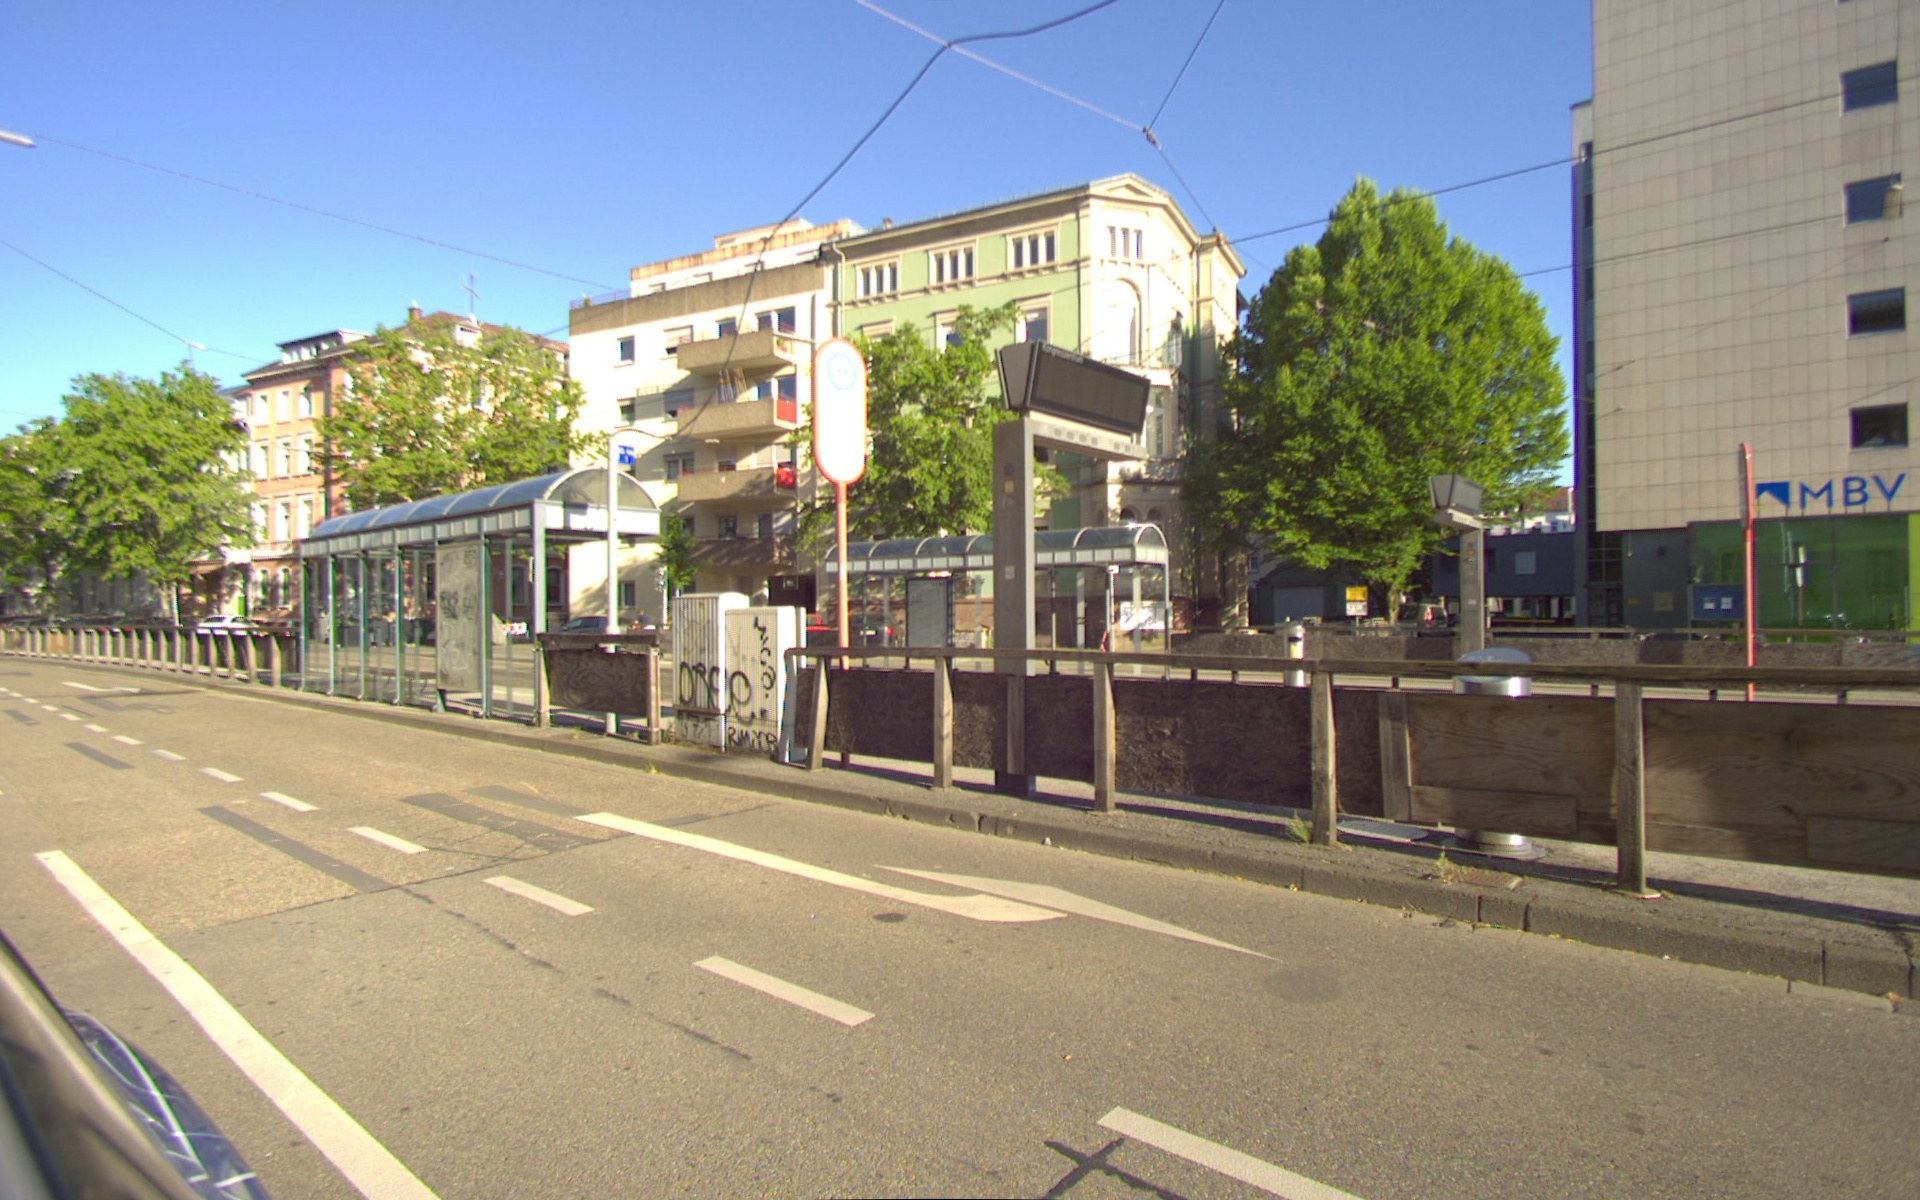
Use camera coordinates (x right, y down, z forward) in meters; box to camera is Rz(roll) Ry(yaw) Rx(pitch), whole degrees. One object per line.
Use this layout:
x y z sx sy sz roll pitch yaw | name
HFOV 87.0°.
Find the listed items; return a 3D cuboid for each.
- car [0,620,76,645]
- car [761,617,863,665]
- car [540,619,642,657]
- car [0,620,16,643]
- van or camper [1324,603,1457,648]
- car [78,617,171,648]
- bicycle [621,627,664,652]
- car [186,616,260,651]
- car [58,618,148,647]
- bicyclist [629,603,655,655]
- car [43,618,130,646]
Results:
-59.607 2.076 65.271 3.811 1.604 2.001 1 -2 -45 | car
-4.998 1.374 34.692 1.763 1.547 3.763 -1 -2 23 | car
-13.999 1.424 38.396 3.498 1.406 1.602 -1 -2 22 | car
-68.096 2.210 70.116 2.001 1.604 3.812 -2 -2 44 | car
15.509 0.892 36.549 3.998 1.417 1.943 2 0 41 | van or camper
-47.973 1.840 58.159 2.001 1.697 3.942 -2 -2 44 | car
-10.885 1.343 34.649 1.852 0.793 0.529 0 -1 41 | bicycle
-39.518 1.766 54.376 1.966 1.736 4.012 0 1 -15 | car
-51.290 1.904 60.631 2.001 1.697 3.942 -2 -2 44 | car
-10.879 0.990 34.633 0.770 1.774 0.529 0 -1 41 | bicyclist
-54.298 1.950 62.960 2.001 1.697 3.942 -2 -2 44 | car
